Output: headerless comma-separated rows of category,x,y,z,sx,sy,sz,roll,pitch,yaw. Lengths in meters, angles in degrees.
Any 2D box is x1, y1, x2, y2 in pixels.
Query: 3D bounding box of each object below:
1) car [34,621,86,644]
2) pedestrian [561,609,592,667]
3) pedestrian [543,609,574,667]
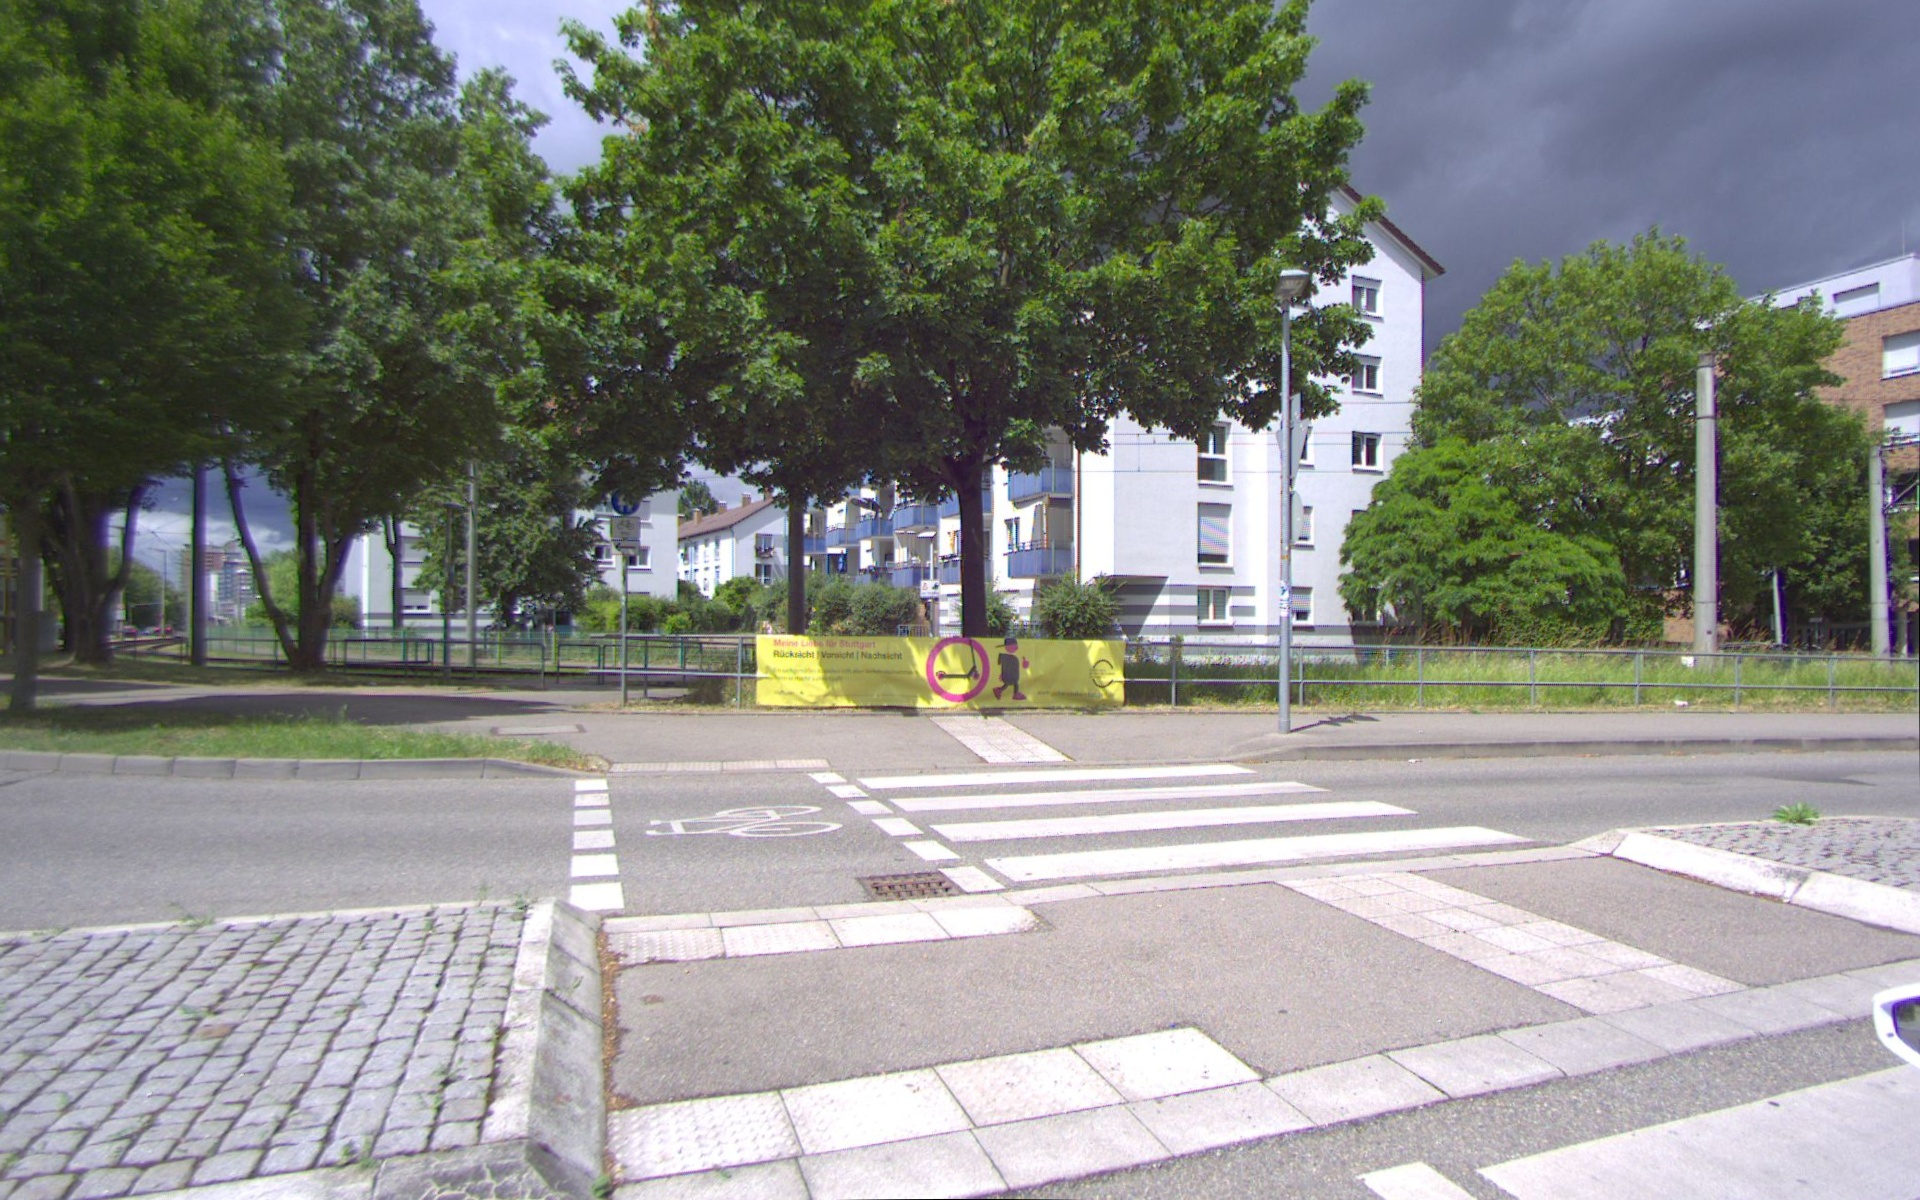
car,-69.751,2.494,77.907,1.974,1.723,3.972,-1,-1,-27
pedestrian,-13.683,1.338,35.839,0.716,2.040,0.980,1,-1,-3
pedestrian,-14.333,1.350,35.847,0.716,2.040,0.980,1,-1,-3
